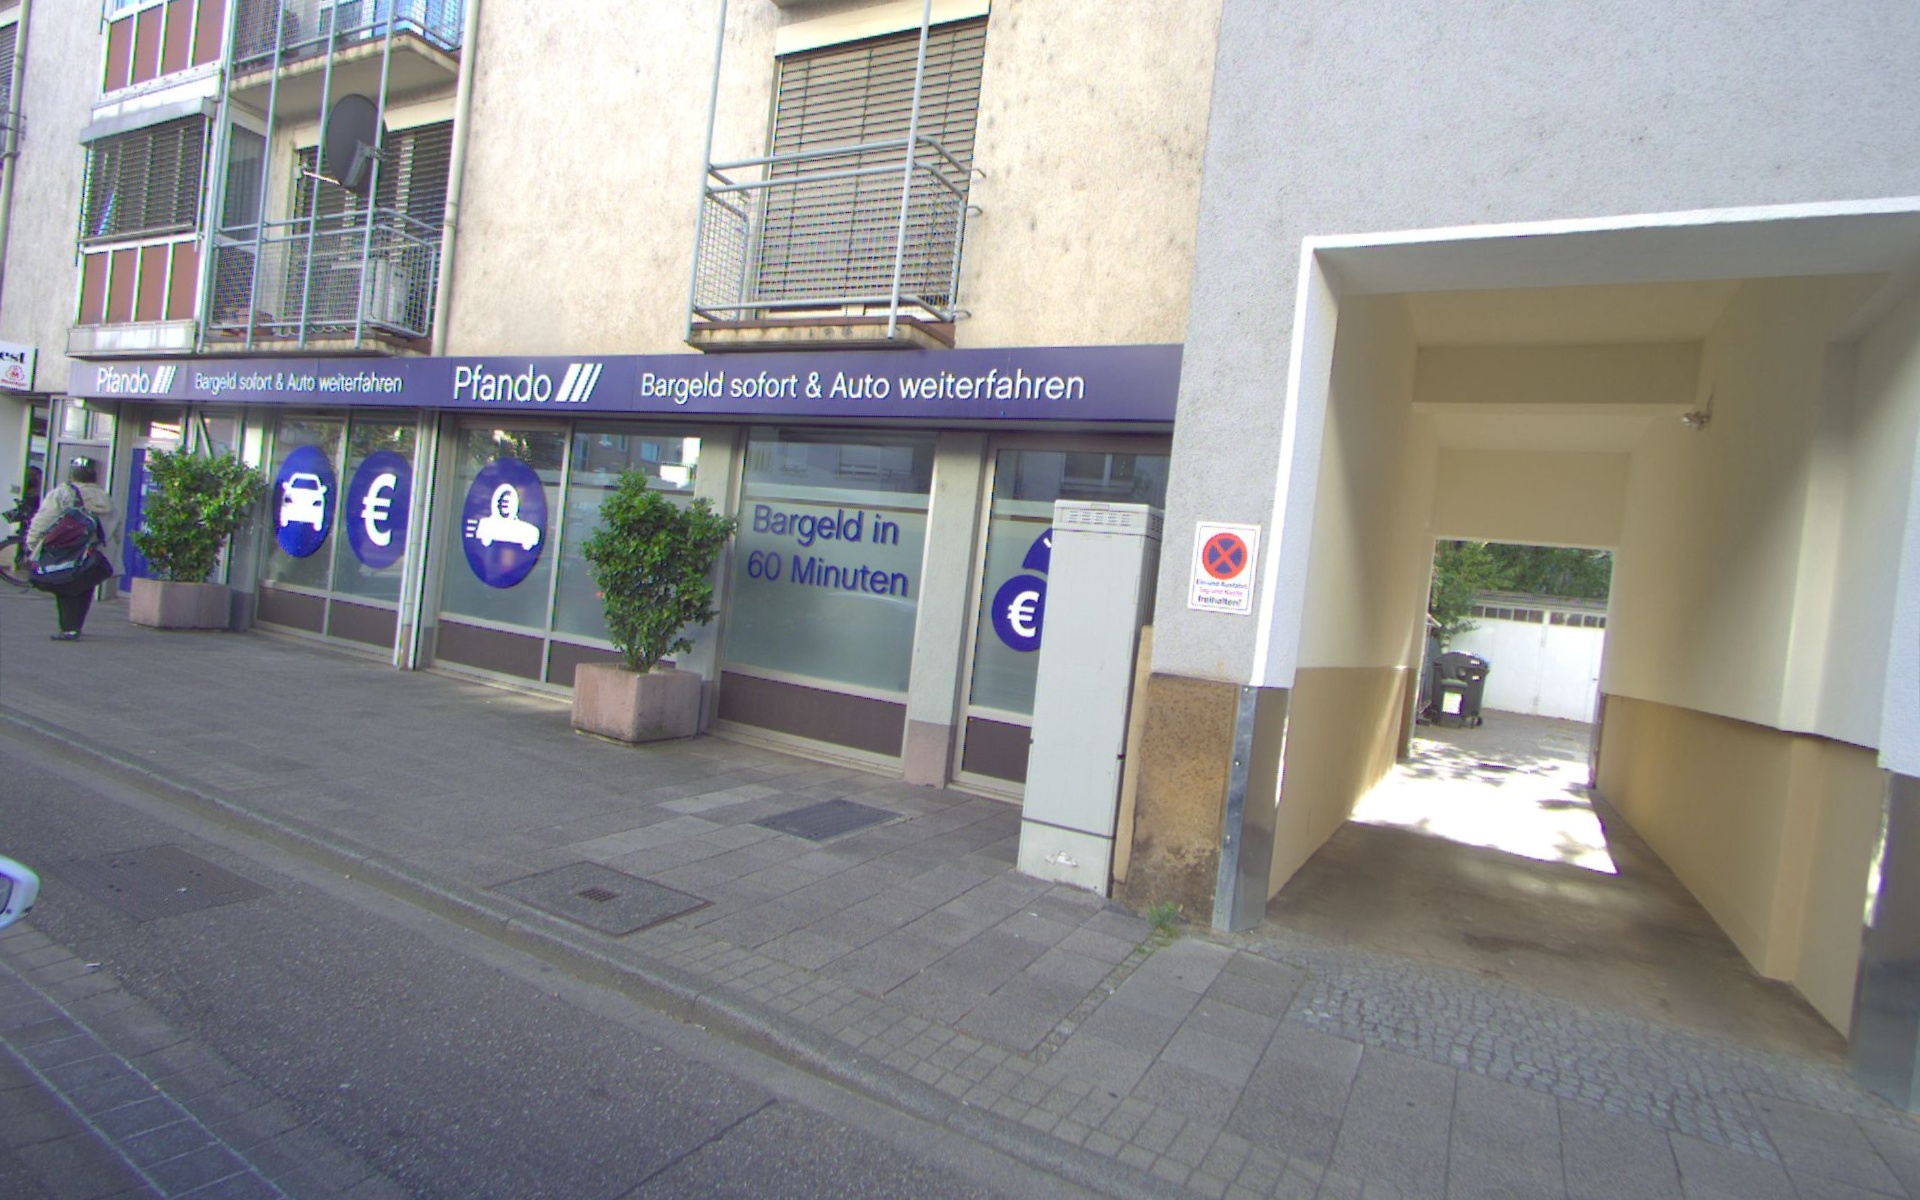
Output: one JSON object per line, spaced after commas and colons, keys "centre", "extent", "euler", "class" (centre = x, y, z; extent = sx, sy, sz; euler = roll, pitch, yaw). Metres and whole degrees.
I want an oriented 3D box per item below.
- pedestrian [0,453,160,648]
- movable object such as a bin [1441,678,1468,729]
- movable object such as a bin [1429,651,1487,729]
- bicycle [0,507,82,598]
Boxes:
{"centre": [-8.003, -0.432, 9.110], "extent": [0.738, 1.611, 0.827], "euler": [6, -1, 31], "class": "pedestrian"}
{"centre": [9.568, 1.999, 19.445], "extent": [0.365, 0.920, 0.420], "euler": [7, 2, 28], "class": "movable object such as a bin"}
{"centre": [9.960, 1.781, 20.114], "extent": [0.873, 1.411, 0.758], "euler": [7, 2, 28], "class": "movable object such as a bin"}
{"centre": [-11.953, -0.633, 12.859], "extent": [1.678, 1.010, 0.543], "euler": [6, -1, 32], "class": "bicycle"}
